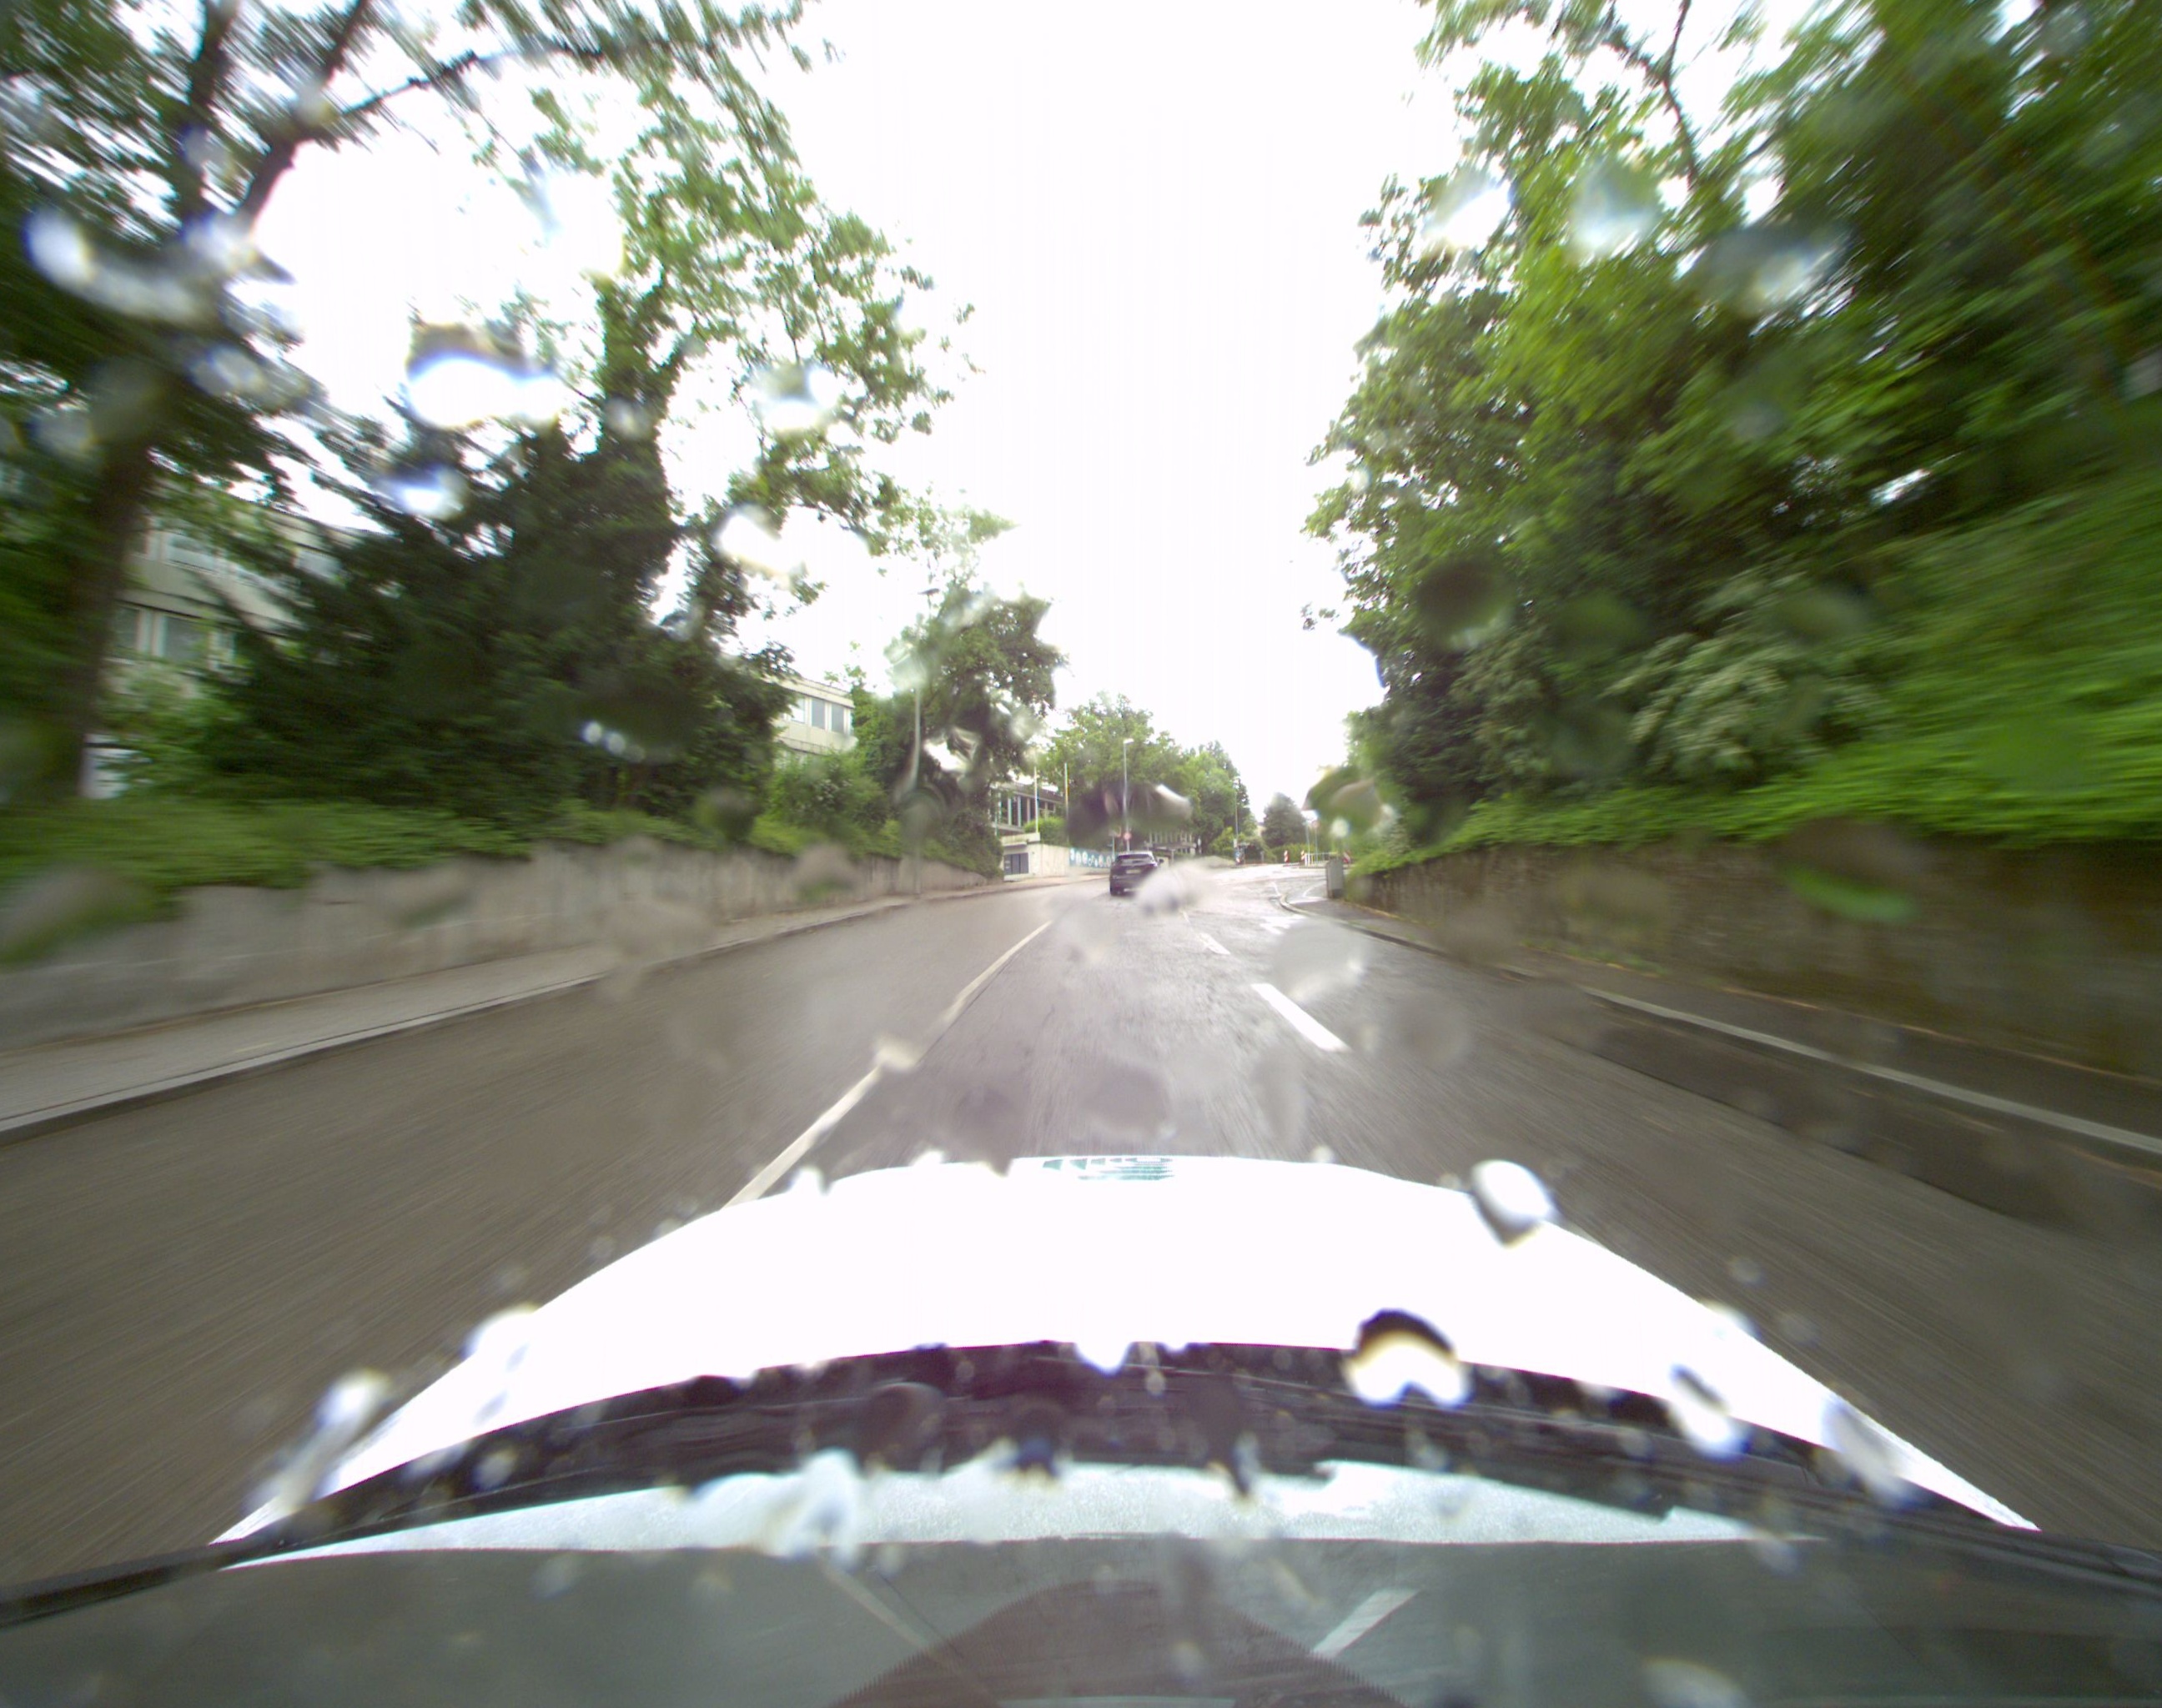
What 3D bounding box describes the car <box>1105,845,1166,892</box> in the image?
[{"bbox_3d":[2.126,0.489,30.864,1.917,1.613,4.010,-2,0,8],"label":"car"}]
